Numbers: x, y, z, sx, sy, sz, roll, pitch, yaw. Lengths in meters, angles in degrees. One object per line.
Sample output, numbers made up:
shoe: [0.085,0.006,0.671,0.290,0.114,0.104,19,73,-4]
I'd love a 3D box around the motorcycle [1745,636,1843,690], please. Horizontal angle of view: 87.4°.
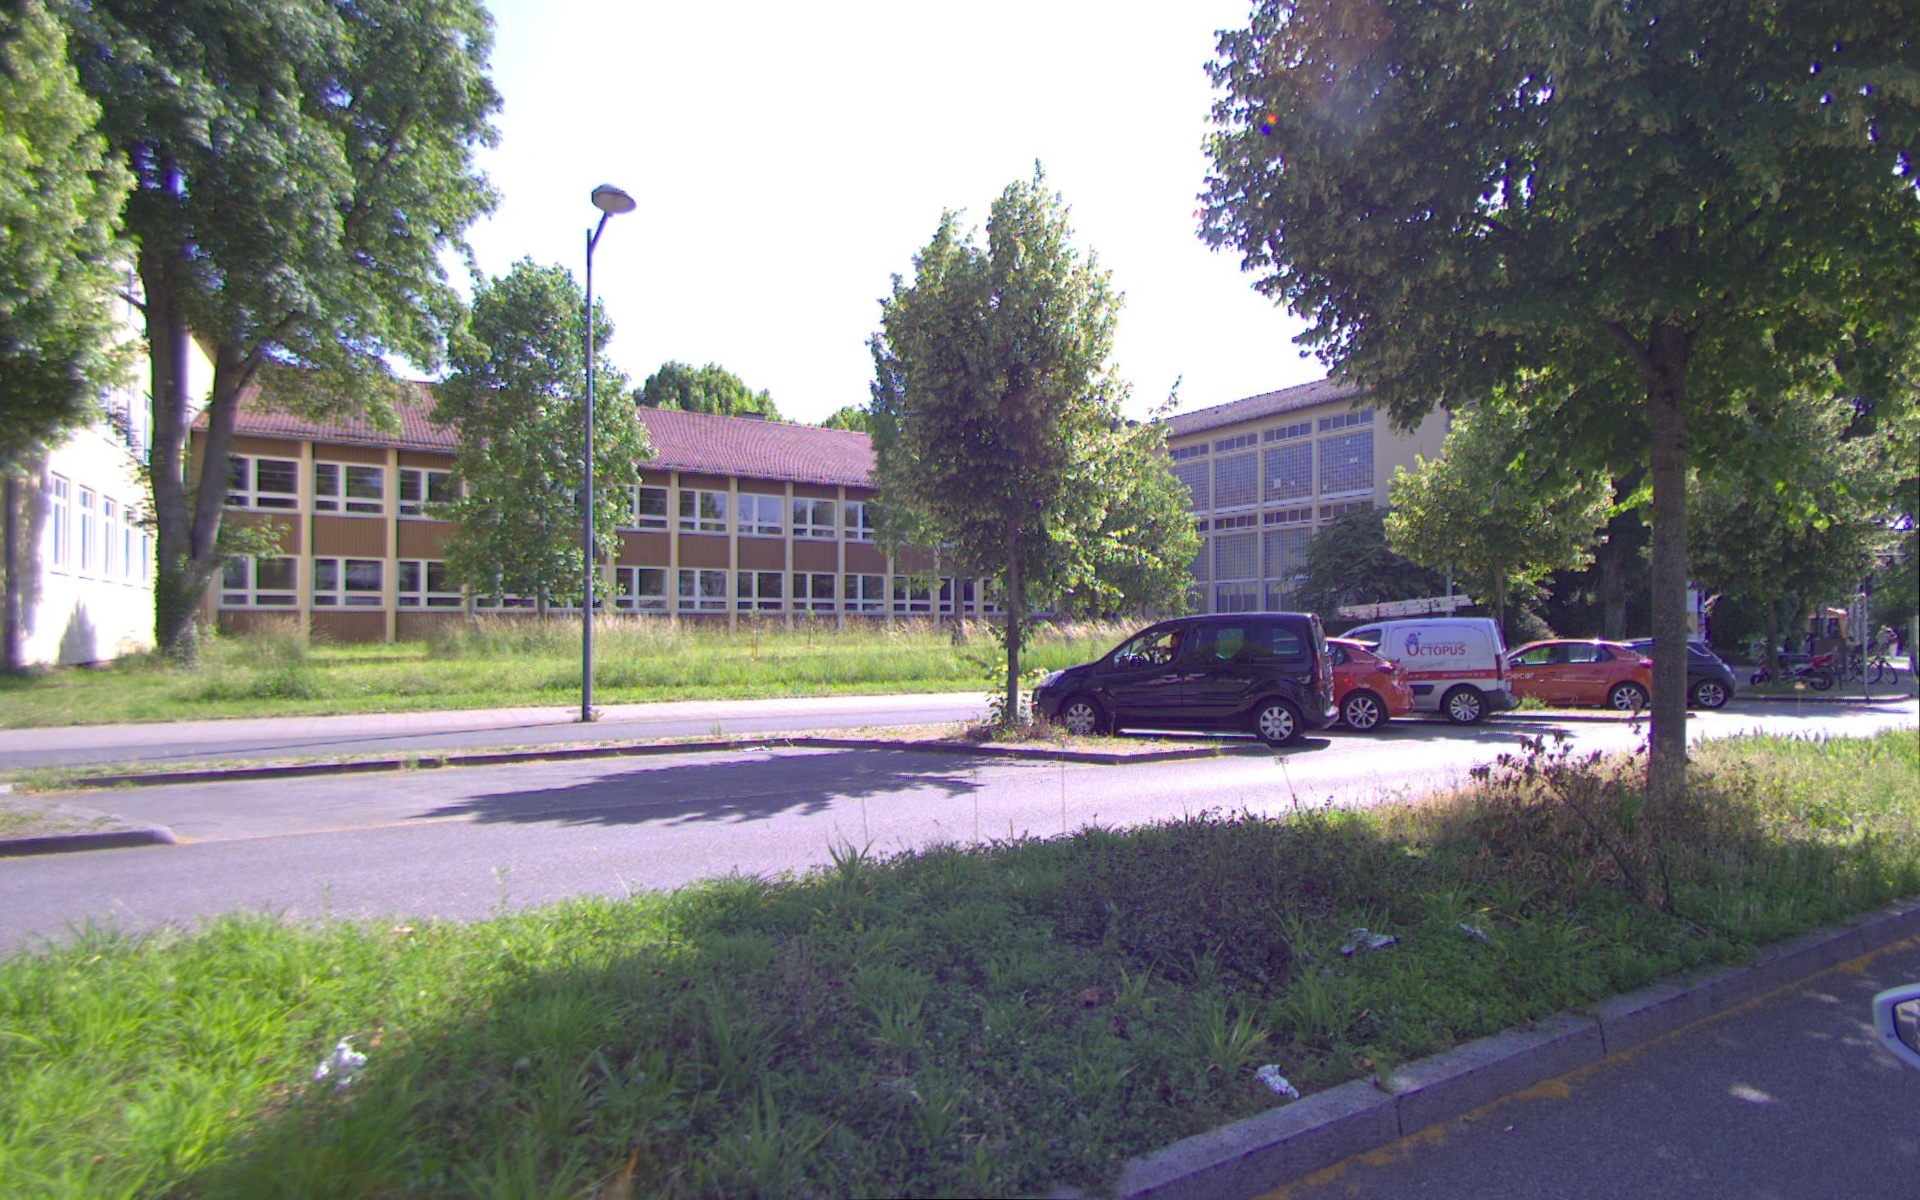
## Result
motorcycle: [21.308,1.583,25.694,0.686,1.301,1.832,1,-1,-36]

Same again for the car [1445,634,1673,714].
car: [11.895,1.423,20.252,3.770,1.442,1.714,0,-2,25]

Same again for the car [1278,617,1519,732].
car: [7.644,1.217,17.570,3.706,1.795,1.816,0,-2,29]

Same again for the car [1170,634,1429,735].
car: [5.492,1.299,16.300,3.707,1.446,1.853,-1,-2,29]

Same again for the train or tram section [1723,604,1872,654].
train or tram section: [59.036,2.029,71.043,3.084,3.376,7.518,1,-2,-31]

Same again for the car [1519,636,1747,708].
car: [14.372,1.518,21.704,3.700,1.442,1.856,-1,-3,20]

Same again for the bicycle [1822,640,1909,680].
bicycle: [27.435,1.798,30.451,0.684,1.137,1.838,1,-1,-28]

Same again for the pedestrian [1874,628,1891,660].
pedestrian: [50.648,2.406,55.135,0.651,1.749,0.749,-1,-2,42]

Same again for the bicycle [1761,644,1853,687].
bicycle: [23.546,1.797,27.970,0.684,1.106,1.838,1,-1,-28]

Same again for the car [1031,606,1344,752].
car: [3.298,1.065,14.484,4.108,1.840,2.003,-1,-1,23]

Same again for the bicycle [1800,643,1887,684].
bicycle: [26.327,1.872,29.959,0.684,1.121,1.838,1,-1,-28]
